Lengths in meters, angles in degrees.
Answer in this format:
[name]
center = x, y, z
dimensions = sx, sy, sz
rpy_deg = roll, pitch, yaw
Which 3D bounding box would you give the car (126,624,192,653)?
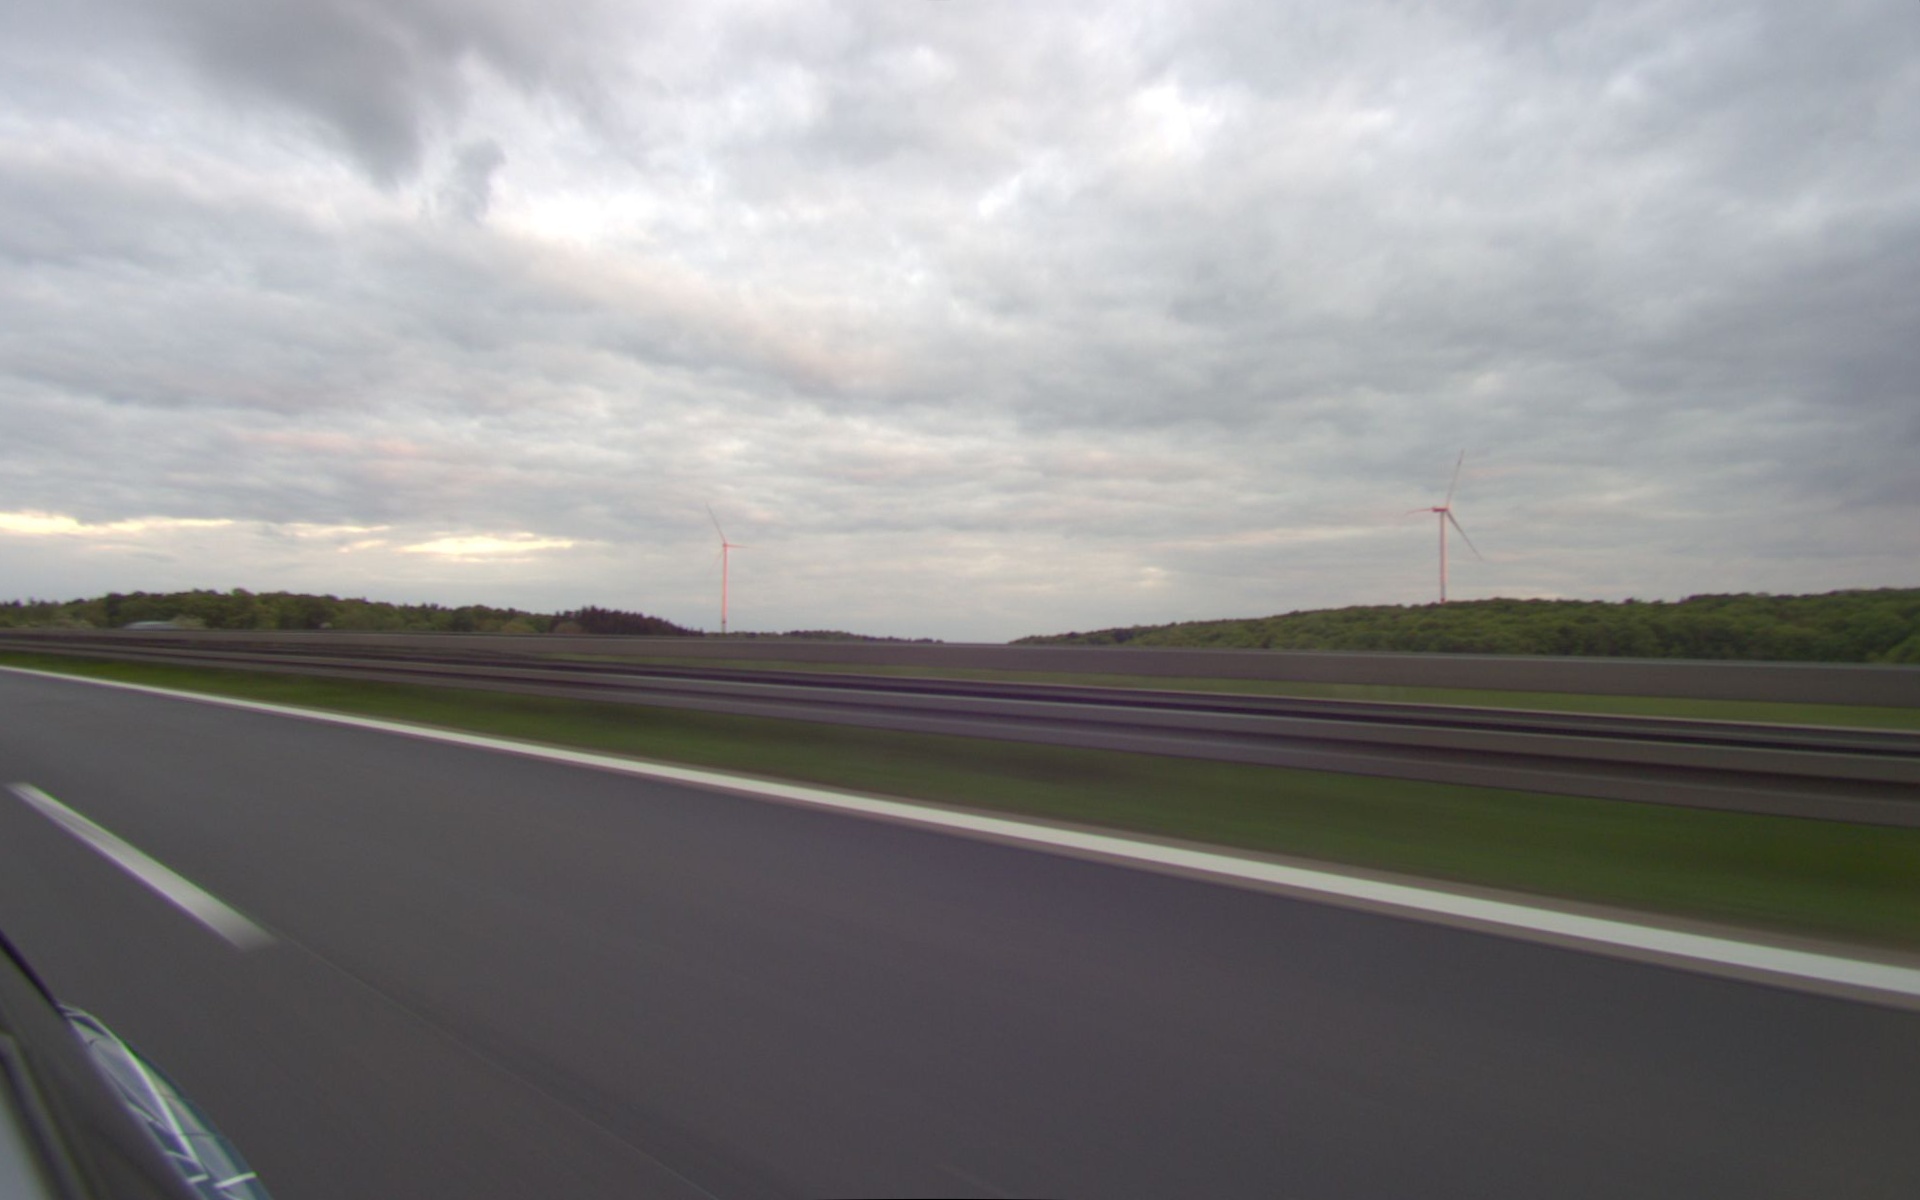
[car]
center = -39.351, 1.904, 49.676
dimensions = 3.945, 1.298, 1.622
rpy_deg = -2, -5, 38
